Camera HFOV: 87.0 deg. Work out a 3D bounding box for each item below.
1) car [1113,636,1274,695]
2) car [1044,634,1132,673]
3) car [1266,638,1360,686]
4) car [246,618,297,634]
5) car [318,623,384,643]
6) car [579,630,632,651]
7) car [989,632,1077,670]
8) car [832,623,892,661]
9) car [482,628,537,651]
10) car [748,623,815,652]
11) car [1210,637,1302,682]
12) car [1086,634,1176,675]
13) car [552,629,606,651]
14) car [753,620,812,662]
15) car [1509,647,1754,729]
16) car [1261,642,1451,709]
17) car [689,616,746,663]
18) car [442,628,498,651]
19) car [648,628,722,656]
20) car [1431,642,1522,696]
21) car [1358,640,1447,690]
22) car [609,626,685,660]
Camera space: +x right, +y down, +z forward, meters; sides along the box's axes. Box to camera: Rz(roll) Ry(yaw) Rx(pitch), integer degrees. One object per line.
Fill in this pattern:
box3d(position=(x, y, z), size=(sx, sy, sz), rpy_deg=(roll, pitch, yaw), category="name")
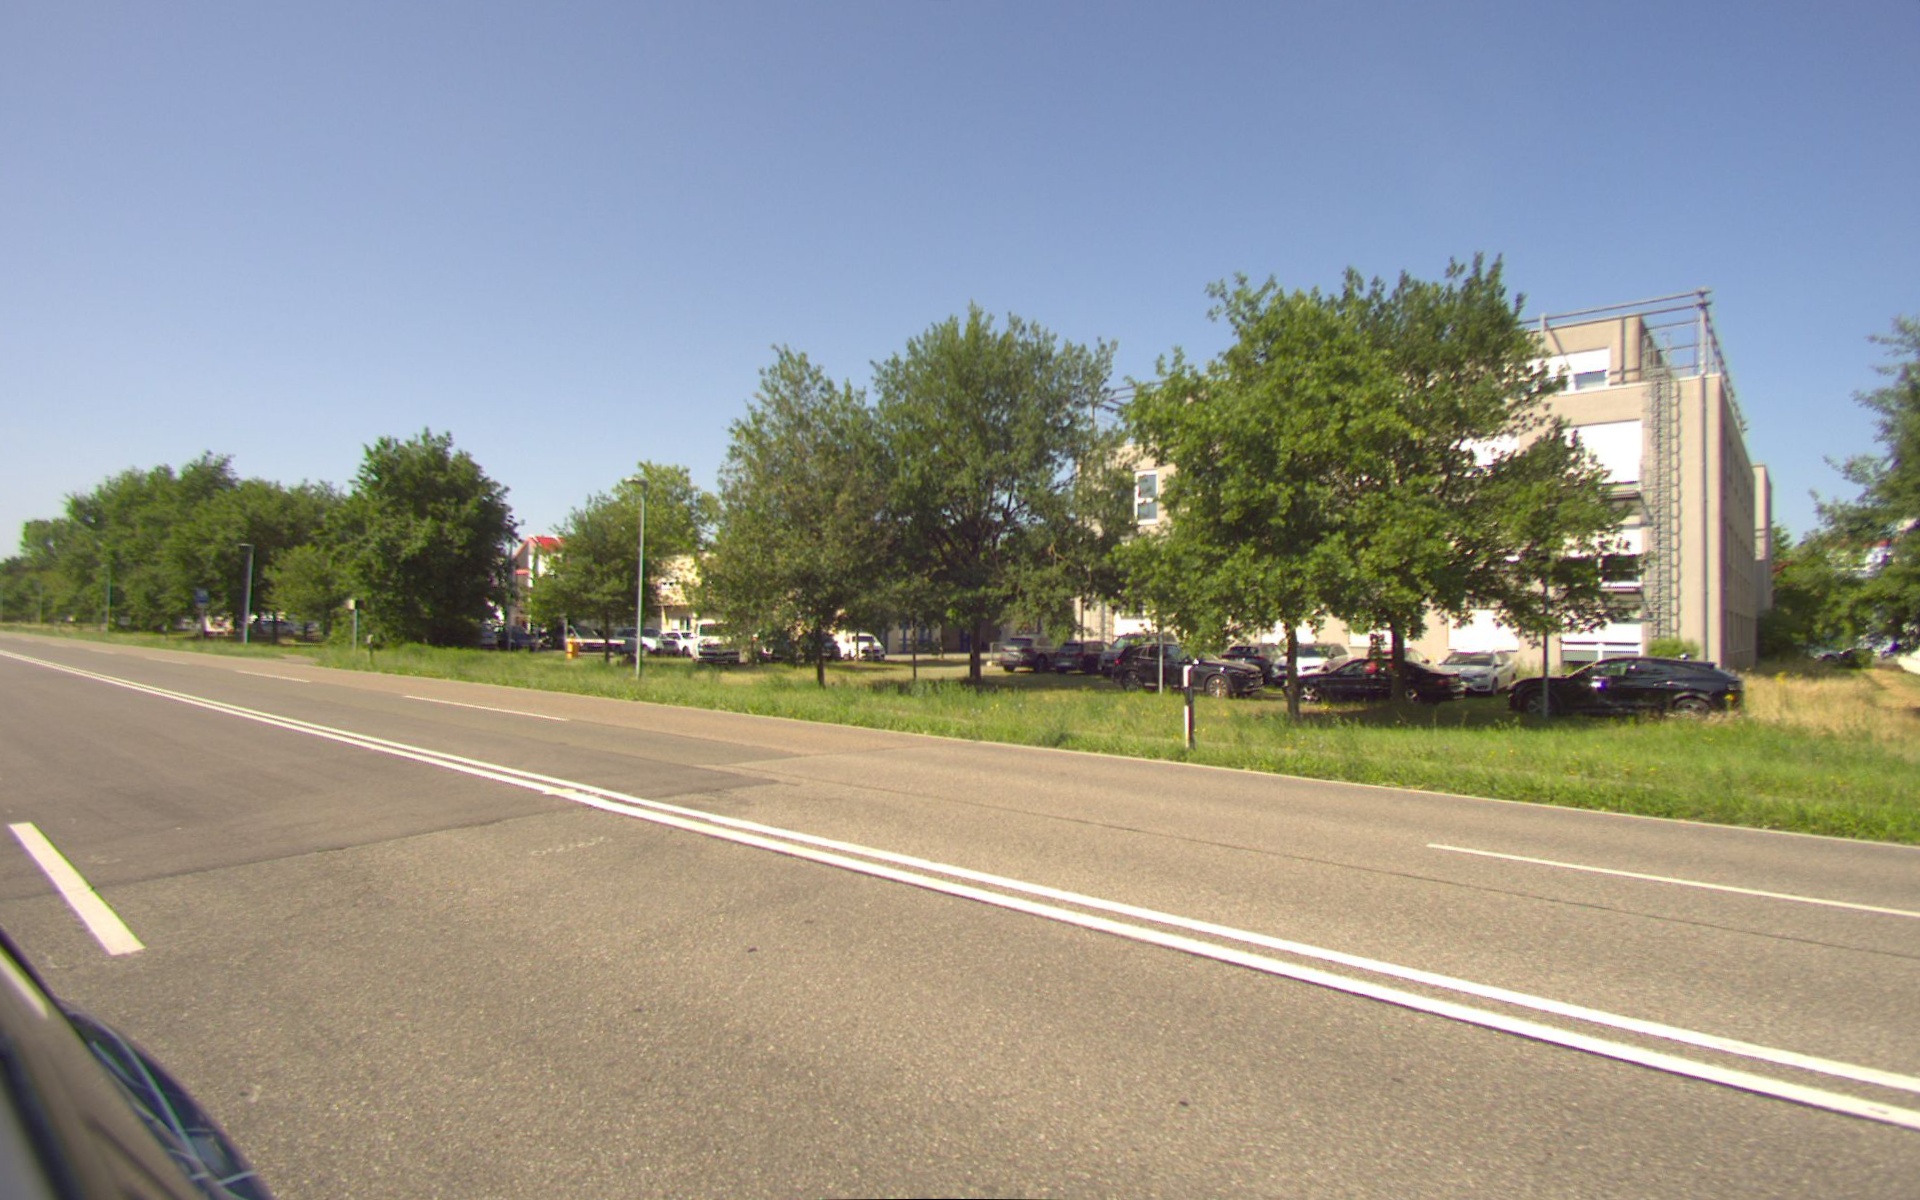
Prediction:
box3d(position=(7.058, 1.937, 30.935), size=(4.547, 1.590, 1.724), rpy_deg=(-1, -2, 42), category="car")
box3d(position=(5.479, 2.217, 42.939), size=(1.886, 1.548, 3.946), rpy_deg=(-1, -2, 40), category="car")
box3d(position=(12.535, 2.141, 35.818), size=(1.886, 1.548, 3.946), rpy_deg=(-1, -2, 40), category="car")
box3d(position=(-69.307, 2.610, 101.875), size=(1.757, 1.512, 3.945), rpy_deg=(-1, -2, 41), category="car")
box3d(position=(-50.337, 2.749, 83.696), size=(1.856, 1.335, 4.304), rpy_deg=(1, -4, 41), category="car")
box3d(position=(-24.113, 2.738, 68.831), size=(3.998, 1.360, 1.654), rpy_deg=(-1, -2, 42), category="car")
box3d(position=(3.228, 2.216, 44.352), size=(1.886, 1.548, 3.946), rpy_deg=(-1, -2, 40), category="car")
box3d(position=(-5.166, 2.123, 52.580), size=(2.038, 1.820, 5.031), rpy_deg=(1, -1, -18), category="car")
box3d(position=(-28.447, 2.453, 63.828), size=(3.998, 1.360, 1.654), rpy_deg=(-1, -2, 42), category="car")
box3d(position=(-11.043, 2.288, 62.474), size=(4.167, 1.670, 1.837), rpy_deg=(0, -2, 42), category="car")
box3d(position=(11.144, 2.197, 38.003), size=(1.886, 1.548, 3.946), rpy_deg=(-1, -2, 40), category="car")
box3d(position=(7.018, 2.199, 41.261), size=(1.886, 1.548, 3.946), rpy_deg=(-1, -2, 40), category="car")
box3d(position=(-25.042, 2.628, 66.420), size=(3.998, 1.360, 1.654), rpy_deg=(-1, -2, 42), category="car")
box3d(position=(-8.439, 1.873, 47.692), size=(2.038, 1.820, 5.031), rpy_deg=(1, -1, -18), category="car")
box3d(position=(15.460, 1.957, 23.468), size=(4.547, 1.590, 1.724), rpy_deg=(-1, -2, 42), category="car")
box3d(position=(10.772, 2.001, 27.719), size=(4.547, 1.590, 1.724), rpy_deg=(-1, -2, 42), category="car")
box3d(position=(-10.913, 1.722, 45.287), size=(2.038, 1.944, 5.031), rpy_deg=(1, -1, -18), category="car")
box3d(position=(-29.814, 2.384, 61.501), size=(3.998, 1.360, 1.654), rpy_deg=(-1, -2, 42), category="car")
box3d(position=(-15.042, 2.259, 55.257), size=(4.189, 1.404, 1.909), rpy_deg=(0, -2, 40), category="car")
box3d(position=(16.764, 2.167, 32.745), size=(1.741, 1.597, 4.093), rpy_deg=(-1, -2, 40), category="car")
box3d(position=(15.061, 2.156, 34.328), size=(1.741, 1.548, 3.946), rpy_deg=(-1, -2, 40), category="car")
box3d(position=(-16.590, 2.229, 53.548), size=(4.189, 1.664, 1.909), rpy_deg=(0, -2, 40), category="car")
